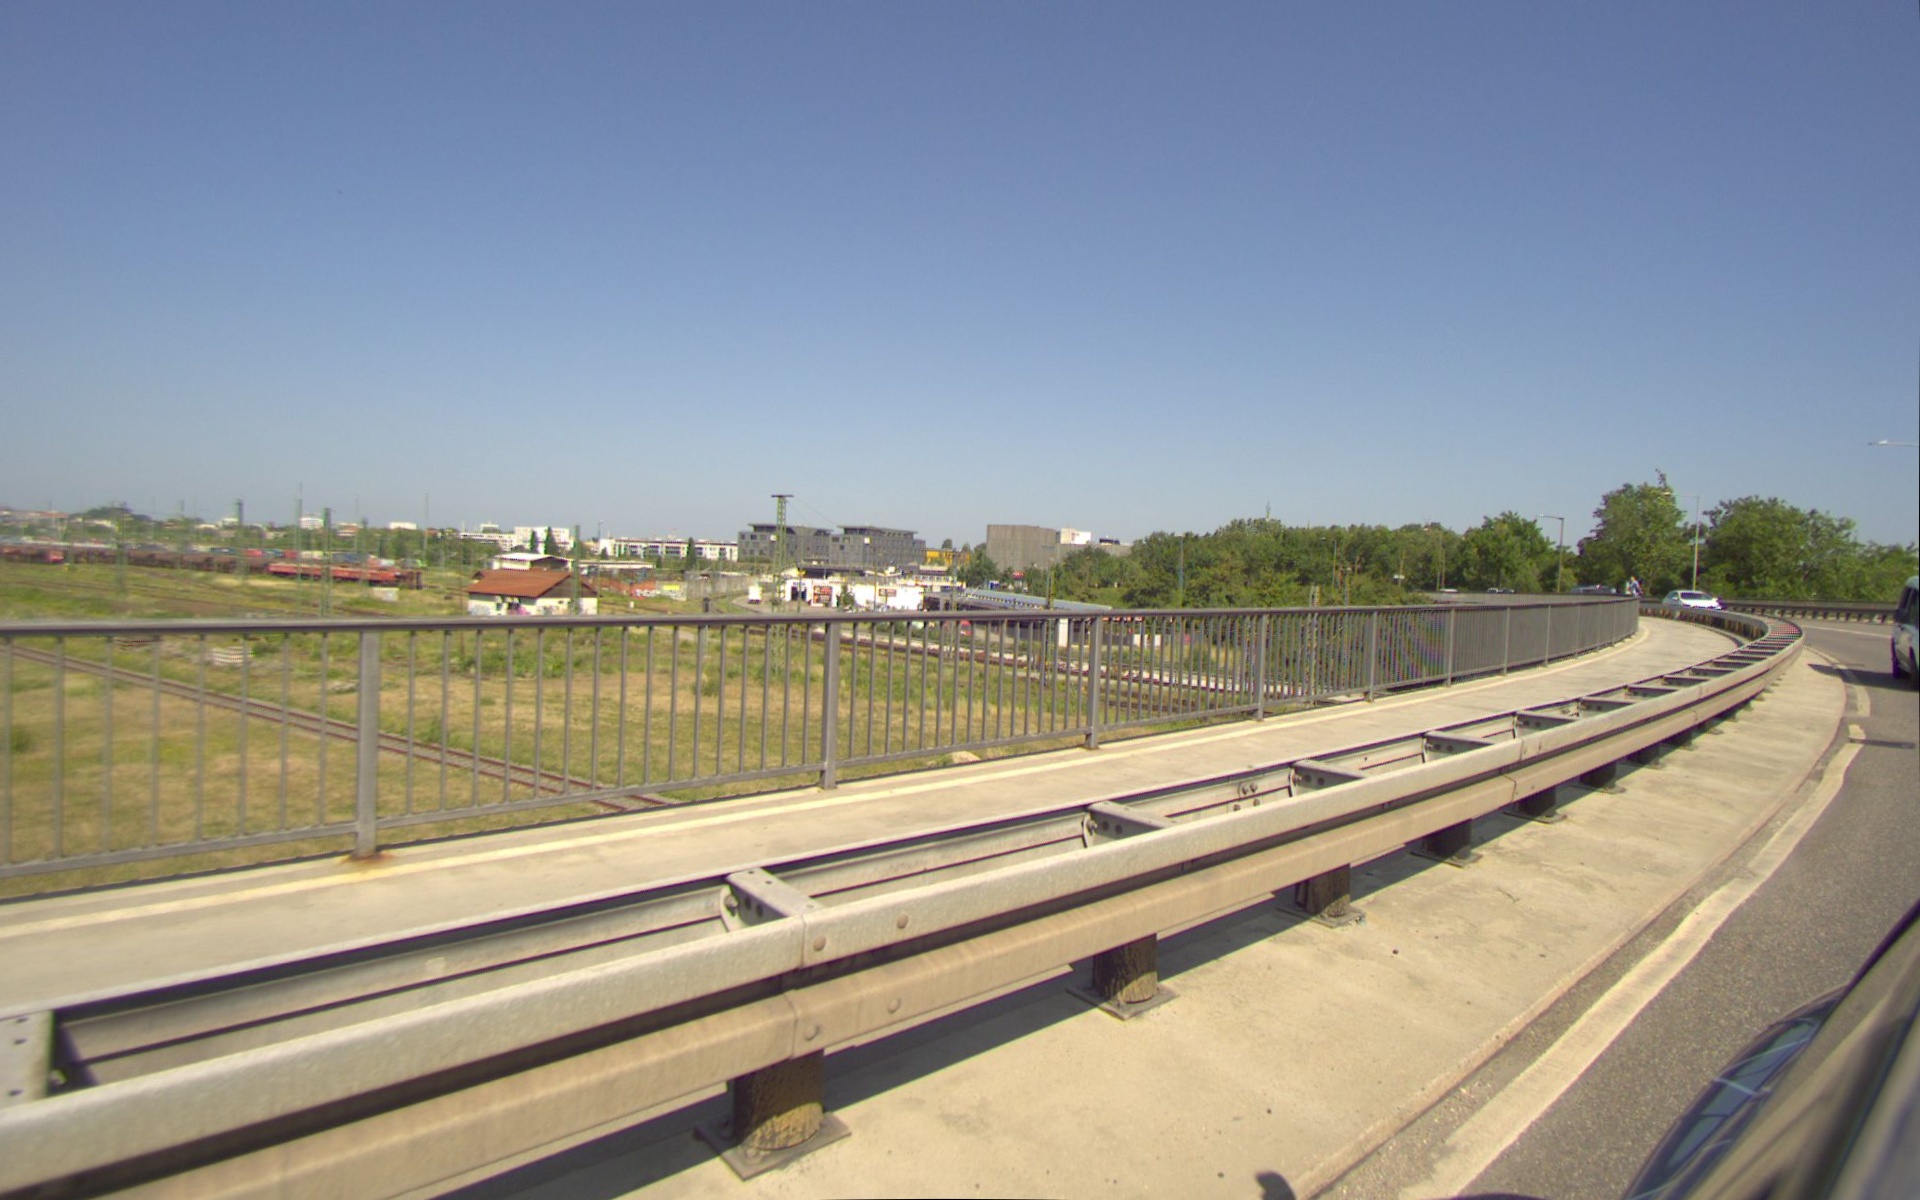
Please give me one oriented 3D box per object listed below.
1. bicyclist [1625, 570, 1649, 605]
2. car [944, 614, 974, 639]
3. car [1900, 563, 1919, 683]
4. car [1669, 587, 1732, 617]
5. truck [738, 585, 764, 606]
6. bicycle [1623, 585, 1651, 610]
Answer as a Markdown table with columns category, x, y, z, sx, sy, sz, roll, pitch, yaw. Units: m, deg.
| category | x | y | z | sx | sy | sz | roll | pitch | yaw |
| --- | --- | --- | --- | --- | --- | --- | --- | --- | --- |
| bicyclist | 30.790 | -0.547 | 46.025 | 0.652 | 1.539 | 0.797 | 4 | 0 | 21 |
| car | -0.140 | 3.327 | 128.816 | 2.261 | 2.694 | 5.392 | -4 | 4 | -16 |
| car | 16.368 | 0.340 | 16.048 | 1.890 | 1.818 | 4.383 | 0 | 1 | 40 |
| car | 38.881 | 0.094 | 53.249 | 1.827 | 1.507 | 4.117 | 0 | 0 | 24 |
| truck | -43.374 | -0.988 | 209.899 | 3.742 | 4.080 | 13.302 | 3 | 0 | -17 |
| bicycle | 30.750 | -0.111 | 45.992 | 0.697 | 1.032 | 1.830 | 5 | 1 | 24 |
